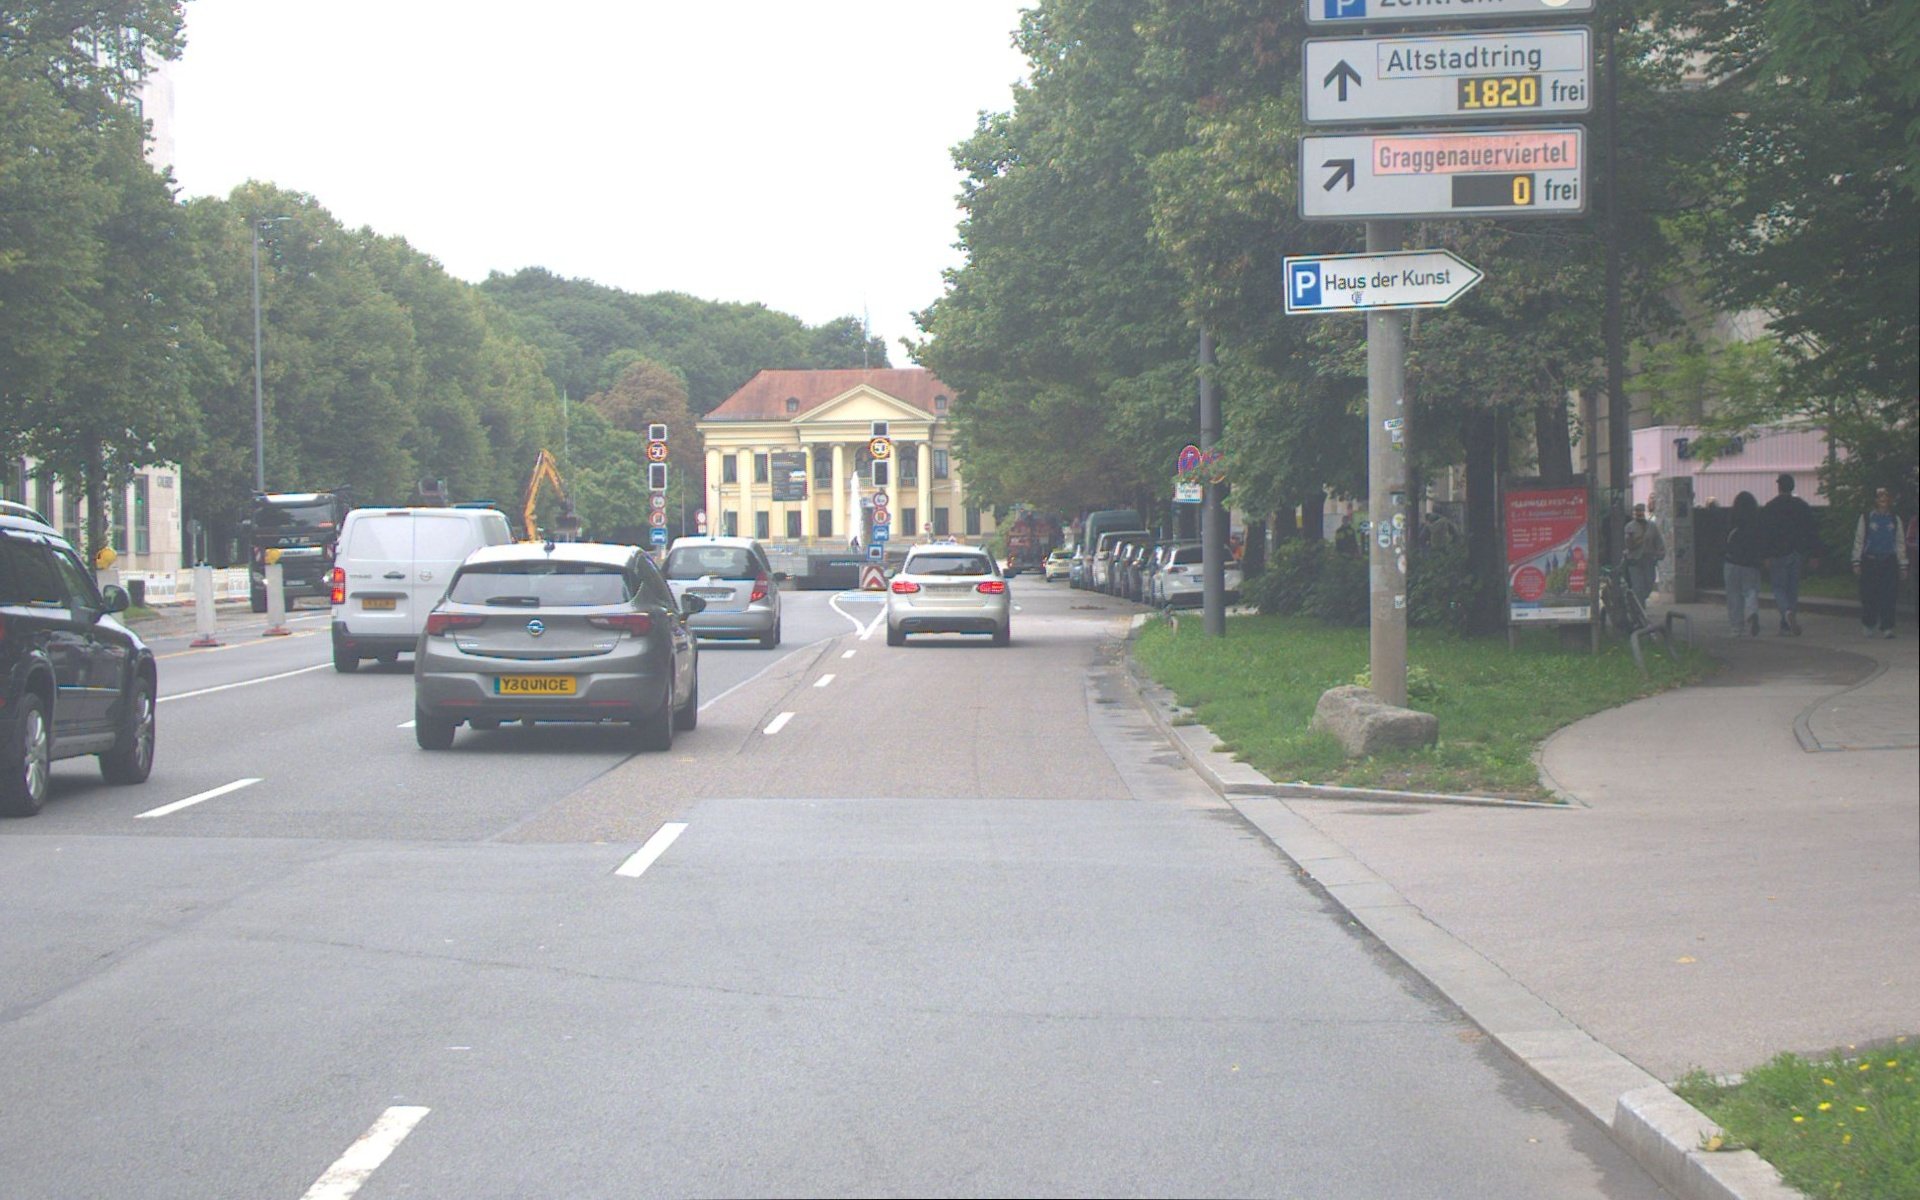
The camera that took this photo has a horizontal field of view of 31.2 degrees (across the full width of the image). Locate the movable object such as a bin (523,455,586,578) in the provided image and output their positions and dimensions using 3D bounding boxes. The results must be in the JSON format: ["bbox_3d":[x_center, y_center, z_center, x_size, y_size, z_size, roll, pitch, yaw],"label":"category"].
[{"bbox_3d":[-21.660,-4.434,183.873,2.699,6.488,5.176,1,1,0],"label":"movable object such as a bin"}]

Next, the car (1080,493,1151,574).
[{"bbox_3d":[5.167,-2.202,114.789,1.993,2.634,4.878,1,1,-1],"label":"car"}]

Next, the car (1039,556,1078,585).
[{"bbox_3d":[4.625,-1.386,161.677,1.724,1.319,4.028,-1,1,1],"label":"car"}]

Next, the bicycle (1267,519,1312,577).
[{"bbox_3d":[7.188,-1.134,75.045,0.628,1.227,2.619,1,1,-2],"label":"bicycle"}]

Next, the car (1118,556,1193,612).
[{"bbox_3d":[5.342,-0.461,94.355,1.823,1.459,4.028,-1,1,1],"label":"car"}]

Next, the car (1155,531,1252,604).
[{"bbox_3d":[5.396,-0.731,76.656,1.827,1.544,4.751,-1,1,1],"label":"car"}]

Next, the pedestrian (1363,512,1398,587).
[{"bbox_3d":[10.684,-1.287,87.387,0.764,1.903,0.771,1,1,1],"label":"pedestrian"}]

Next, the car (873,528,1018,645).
[{"bbox_3d":[-0.251,-0.212,50.591,1.779,1.639,4.001,1,1,-5],"label":"car"}]

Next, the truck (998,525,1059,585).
[{"bbox_3d":[3.925,-2.610,199.209,3.325,3.355,8.662,1,1,0],"label":"truck"}]

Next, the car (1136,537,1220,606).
[{"bbox_3d":[5.177,-0.687,81.971,1.724,1.544,4.585,-1,1,1],"label":"car"}]

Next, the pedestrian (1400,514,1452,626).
[{"bbox_3d":[7.959,-0.518,58.764,0.779,1.903,0.771,1,1,1],"label":"pedestrian"}]

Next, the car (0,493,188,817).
[{"bbox_3d":[-5.684,0.271,19.396,1.722,1.631,4.205,-1,0,-1],"label":"car"}]

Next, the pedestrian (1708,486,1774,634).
[{"bbox_3d":[8.984,-0.460,39.567,0.608,1.675,0.753,1,1,4],"label":"pedestrian"}]

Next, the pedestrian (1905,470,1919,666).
[{"bbox_3d":[8.848,-0.287,30.733,0.755,1.731,0.849,1,1,15],"label":"pedestrian"}]

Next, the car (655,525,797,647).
[{"bbox_3d":[-3.300,-0.221,49.059,1.779,1.648,4.000,1,1,-1],"label":"car"}]

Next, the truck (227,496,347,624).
[{"bbox_3d":[-18.583,-1.122,95.381,2.840,3.345,8.767,0,1,-8],"label":"truck"}]

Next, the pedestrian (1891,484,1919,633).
[{"bbox_3d":[10.775,-0.458,38.000,0.680,1.632,0.664,0,1,-11],"label":"pedestrian"}]

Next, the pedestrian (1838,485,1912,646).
[{"bbox_3d":[10.010,-0.379,37.611,0.755,1.731,0.849,1,1,15],"label":"pedestrian"}]

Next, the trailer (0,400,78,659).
[{"bbox_3d":[-15.281,-1.028,49.650,2.949,3.727,11.773,1,1,-5],"label":"trailer"}]

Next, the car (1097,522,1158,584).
[{"bbox_3d":[5.253,-1.470,107.868,1.724,1.861,4.028,-1,1,1],"label":"car"}]

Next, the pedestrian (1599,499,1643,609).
[{"bbox_3d":[10.203,-0.709,53.063,0.580,1.670,0.553,1,1,4],"label":"pedestrian"}]

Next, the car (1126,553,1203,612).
[{"bbox_3d":[5.247,-0.466,88.775,1.724,1.459,4.776,-1,1,1],"label":"car"}]

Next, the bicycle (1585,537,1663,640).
[{"bbox_3d":[6.744,-0.125,34.977,0.384,1.018,2.079,1,1,0],"label":"bicycle"}]

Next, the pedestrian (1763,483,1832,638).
[{"bbox_3d":[9.593,-0.451,39.397,0.608,1.757,0.797,1,1,4],"label":"pedestrian"}]

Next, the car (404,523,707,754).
[{"bbox_3d":[-2.875,0.233,25.183,1.710,1.546,4.000,1,1,0],"label":"car"}]

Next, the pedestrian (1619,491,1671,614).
[{"bbox_3d":[9.948,-0.692,49.952,0.630,1.768,0.782,1,1,4],"label":"pedestrian"}]

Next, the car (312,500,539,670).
[{"bbox_3d":[-6.174,-0.187,40.242,1.898,1.841,4.956,-1,0,-1],"label":"car"}]
